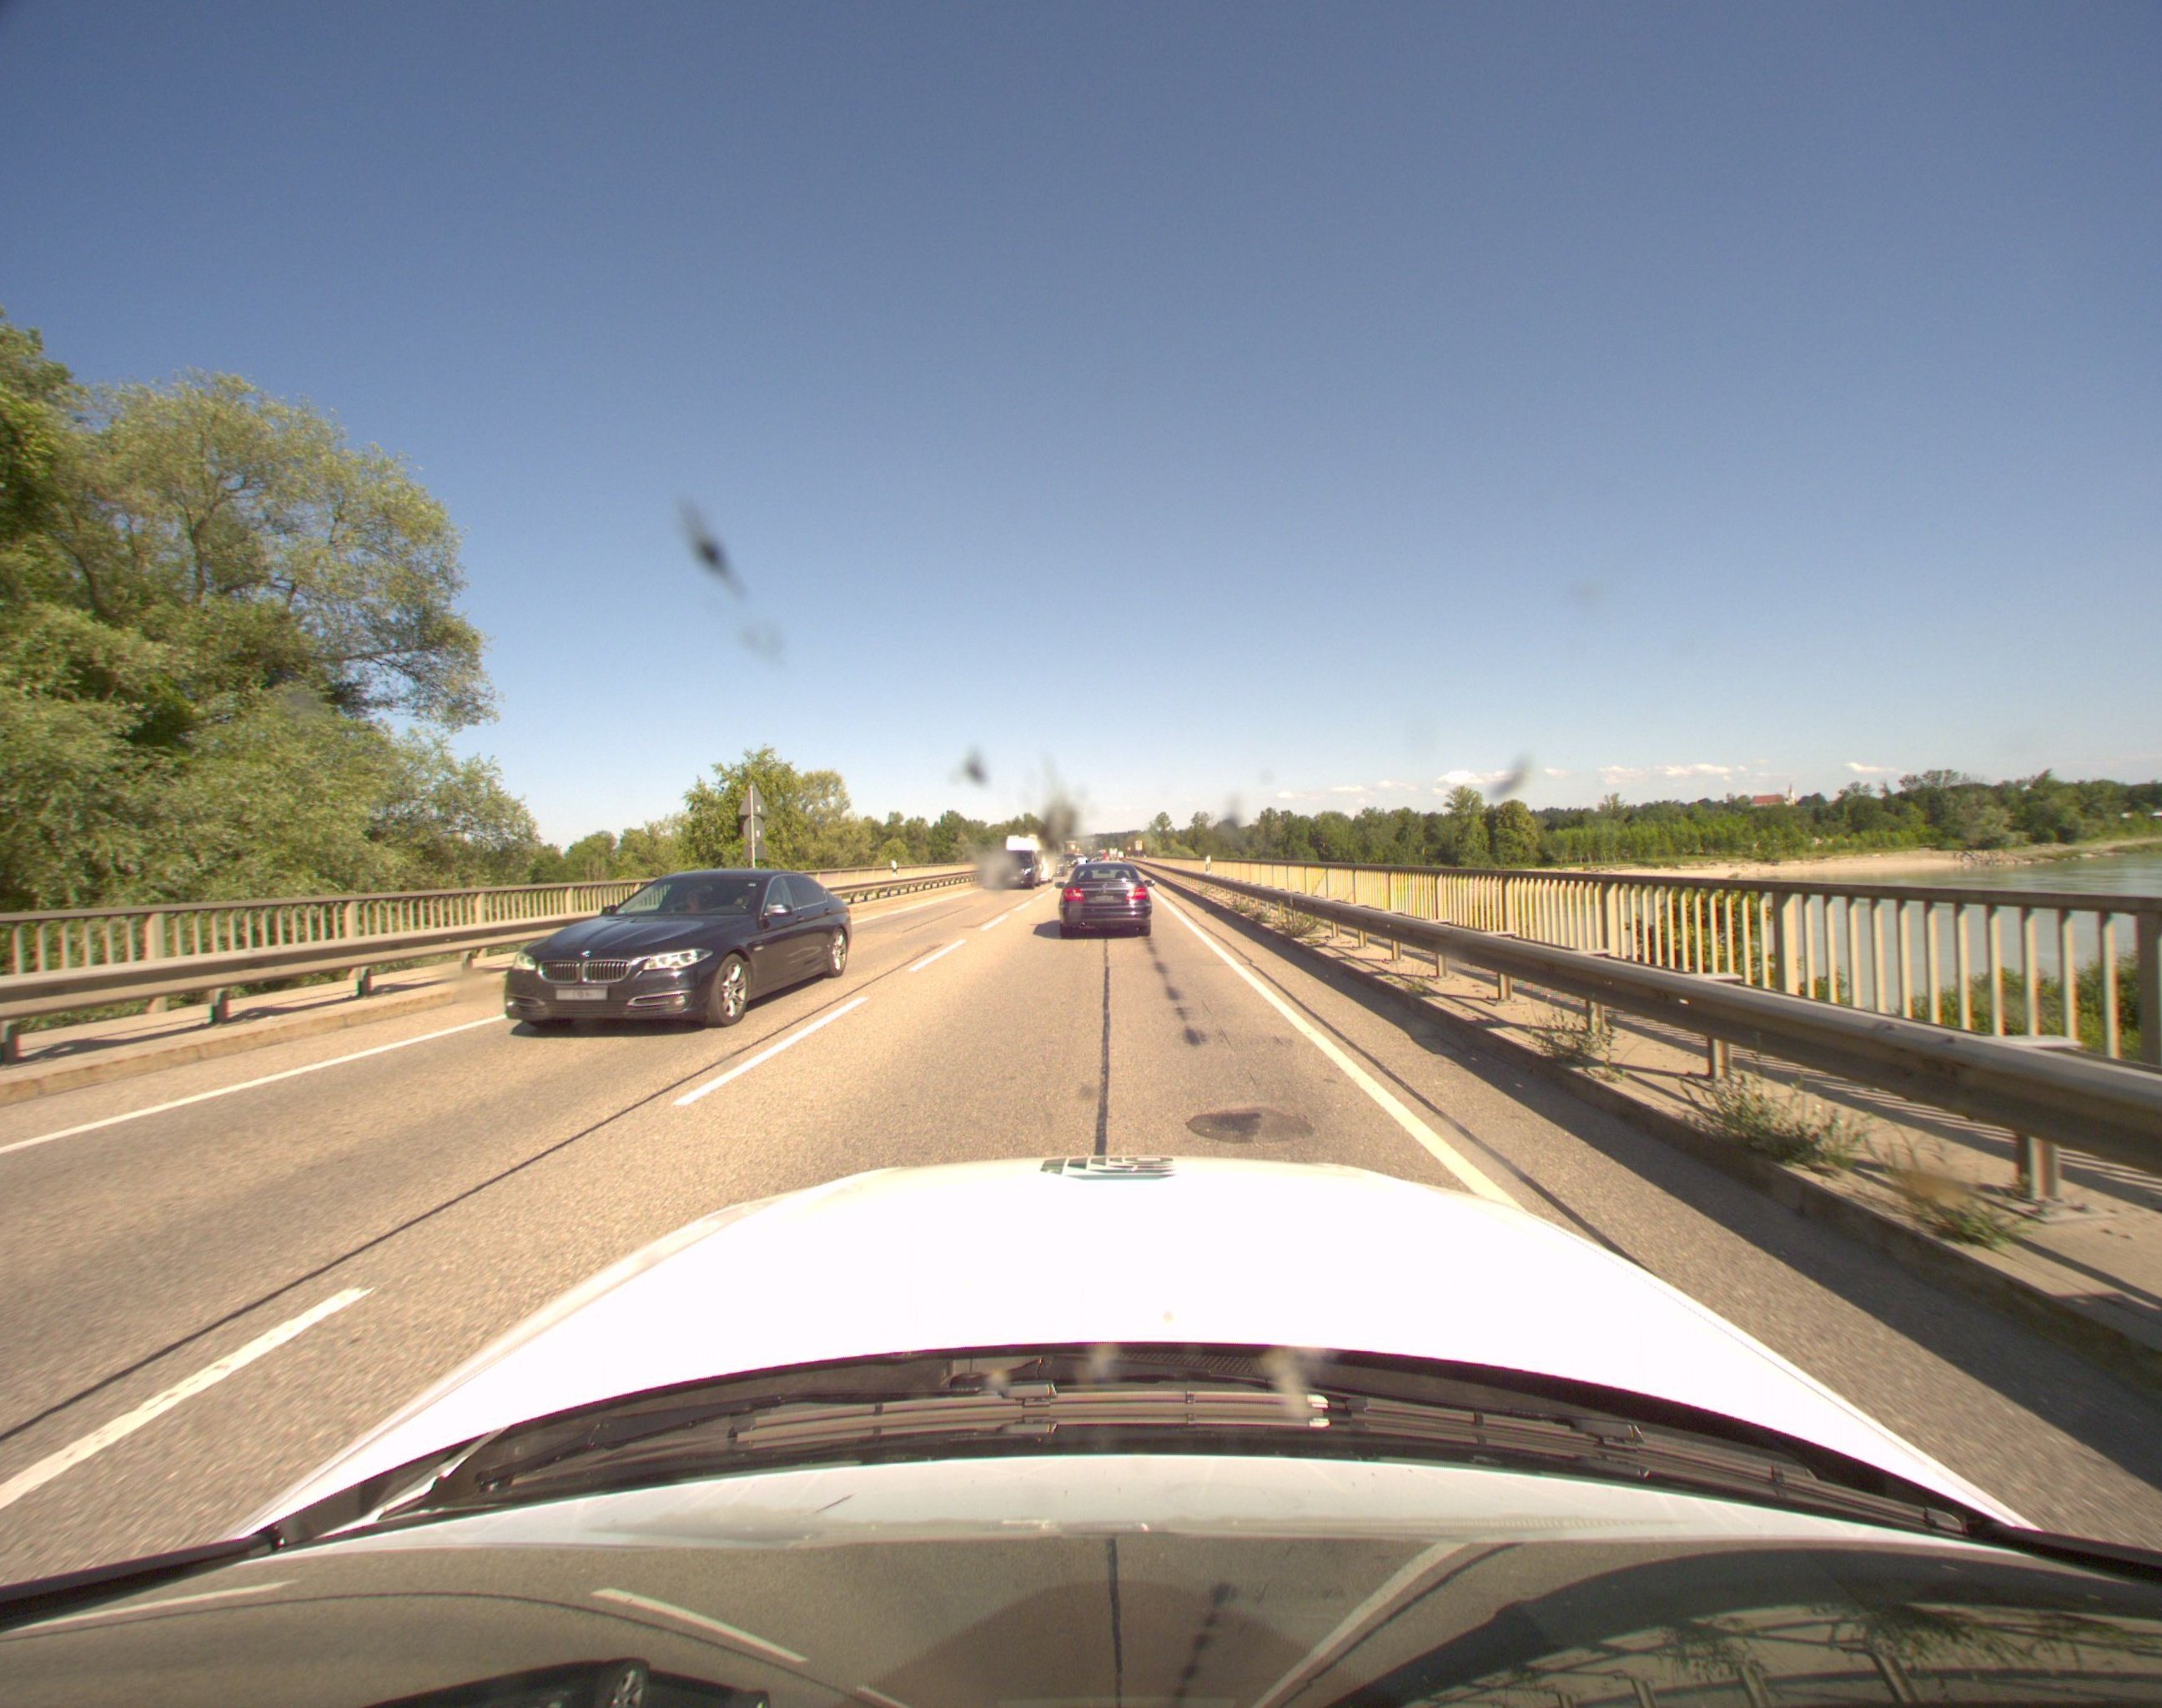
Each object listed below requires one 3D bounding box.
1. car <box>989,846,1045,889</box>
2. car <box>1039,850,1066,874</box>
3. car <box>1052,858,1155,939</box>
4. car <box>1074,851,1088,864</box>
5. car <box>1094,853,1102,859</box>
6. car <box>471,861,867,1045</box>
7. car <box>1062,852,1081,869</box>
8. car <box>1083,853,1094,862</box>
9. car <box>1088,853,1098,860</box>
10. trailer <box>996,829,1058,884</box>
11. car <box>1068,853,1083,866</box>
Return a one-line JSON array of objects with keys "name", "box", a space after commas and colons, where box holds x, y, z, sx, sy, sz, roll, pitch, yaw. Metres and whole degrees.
[{"name": "car", "box": [-2.966, 0.613, 38.813, 1.975, 1.854, 5.012, -2, 0, 3]}, {"name": "car", "box": [-2.076, 0.567, 60.904, 1.796, 1.661, 4.433, 0, 0, 0]}, {"name": "car", "box": [0.473, 0.786, 16.259, 1.786, 1.376, 4.002, -1, 0, 2]}, {"name": "car", "box": [-0.044, 0.523, 123.676, 2.031, 1.873, 5.068, 0, 0, -1]}, {"name": "car", "box": [4.474, 0.549, 214.863, 1.801, 1.577, 4.199, -1, 0, -1]}, {"name": "car", "box": [-3.996, 0.833, 9.002, 1.779, 1.420, 4.655, -2, 0, 3]}, {"name": "car", "box": [-1.007, 0.622, 85.014, 1.943, 1.693, 4.475, 1, 0, -1]}, {"name": "car", "box": [1.274, 0.619, 144.405, 1.760, 1.447, 4.454, -1, 0, -1]}, {"name": "car", "box": [2.544, 0.609, 171.953, 1.861, 1.444, 4.454, -1, 0, -1]}, {"name": "trailer", "box": [-2.861, 0.109, 45.304, 2.545, 2.737, 8.068, 0, 0, 2]}, {"name": "car", "box": [-0.697, 0.671, 109.617, 1.977, 1.651, 4.596, 0, 0, -1]}]
